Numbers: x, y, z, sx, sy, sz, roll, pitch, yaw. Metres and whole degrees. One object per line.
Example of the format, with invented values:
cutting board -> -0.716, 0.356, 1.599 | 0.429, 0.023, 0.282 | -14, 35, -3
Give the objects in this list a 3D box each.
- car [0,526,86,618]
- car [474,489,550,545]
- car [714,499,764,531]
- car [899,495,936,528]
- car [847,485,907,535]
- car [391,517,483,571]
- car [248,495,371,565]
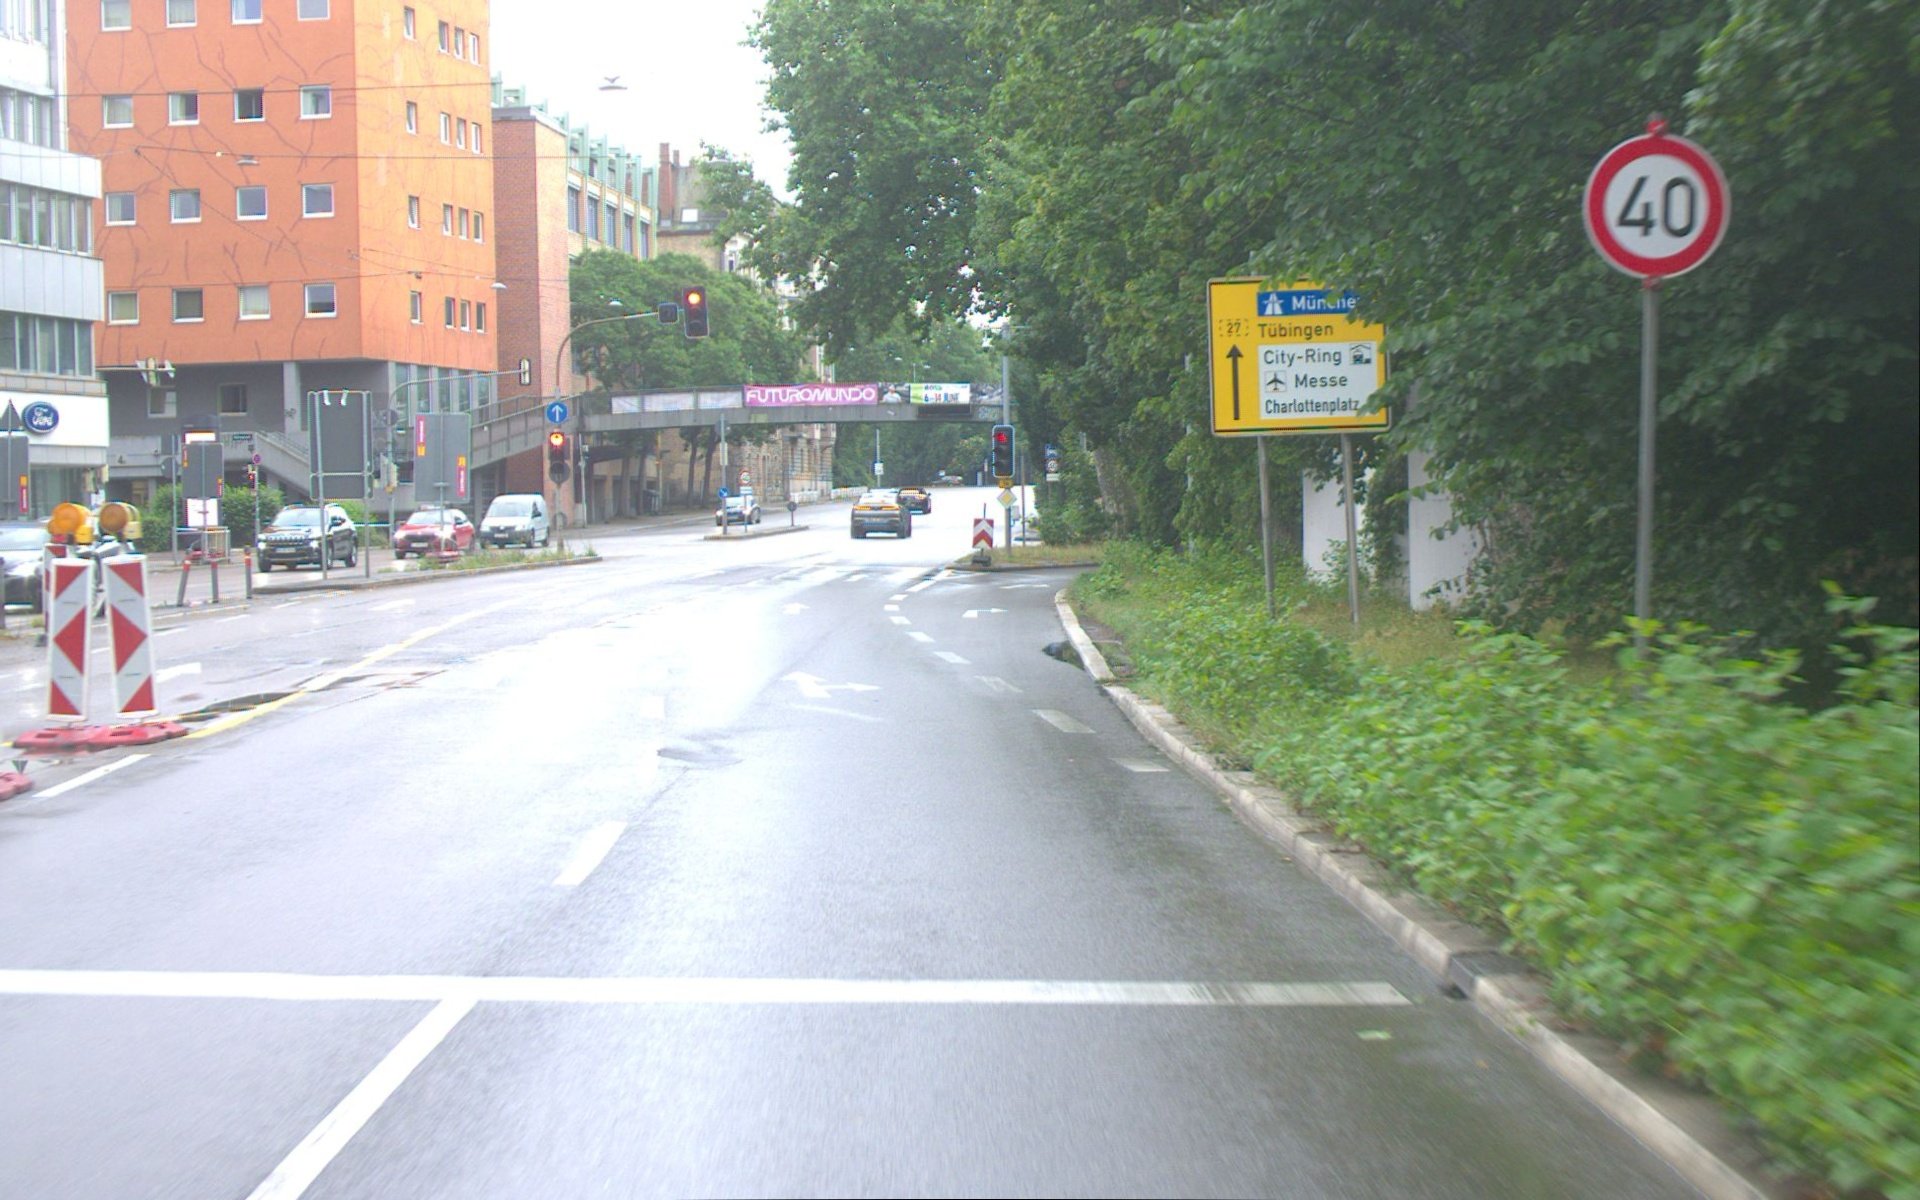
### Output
car -> -15.185, -0.431, 53.977 | 1.689, 1.349, 4.115 | -2, 2, 2
car -> -15.081, -2.811, 115.920 | 1.734, 1.780, 4.301 | -2, 2, 3
car -> -10.729, -4.133, 167.353 | 1.994, 1.514, 4.000 | -1, 2, 2
car -> -2.258, -4.712, 183.197 | 1.763, 1.691, 3.706 | -2, 2, 2
car -> -3.059, -3.364, 127.646 | 2.120, 1.728, 4.199 | 1, 3, -1
car -> -15.801, -1.716, 104.028 | 1.830, 1.497, 4.373 | -2, 2, 3
car -> -16.848, -1.836, 89.201 | 1.846, 1.731, 4.604 | -1, 2, 6
